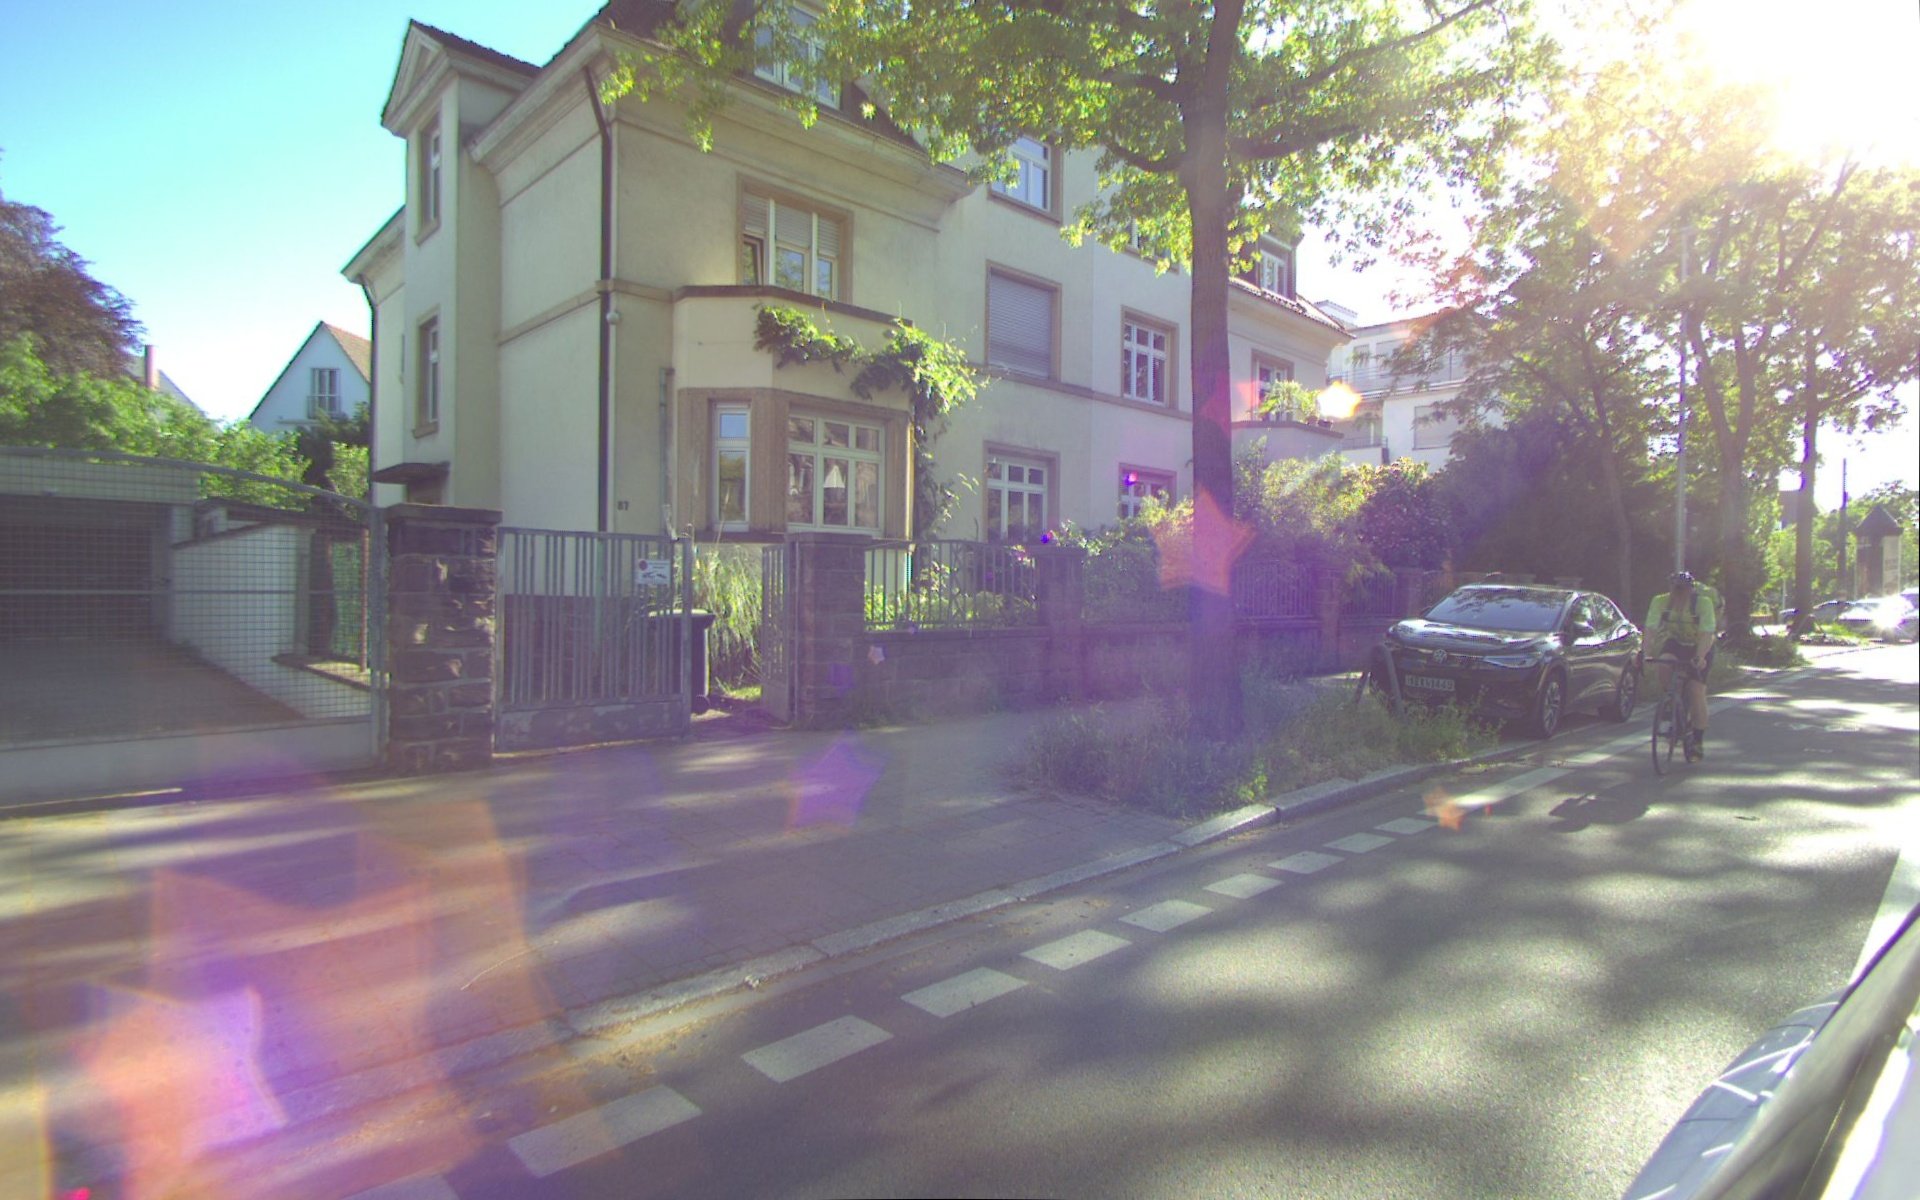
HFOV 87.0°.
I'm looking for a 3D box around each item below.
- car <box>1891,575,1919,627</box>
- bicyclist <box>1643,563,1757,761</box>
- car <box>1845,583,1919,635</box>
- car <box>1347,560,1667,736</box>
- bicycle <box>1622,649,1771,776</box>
[{"bbox_3d":[36.856,0.032,38.129,4.663,1.919,2.128,0,1,-41],"label":"car"},{"bbox_3d":[6.648,0.521,9.094,0.732,1.679,0.677,0,0,-41],"label":"bicyclist"},{"bbox_3d":[31.514,0.259,34.108,3.927,1.660,1.824,0,1,-38],"label":"car"},{"bbox_3d":[6.707,0.482,12.204,4.304,1.695,1.997,1,2,-42],"label":"car"},{"bbox_3d":[6.652,0.955,9.106,1.852,0.937,0.677,0,1,-41],"label":"bicycle"}]
